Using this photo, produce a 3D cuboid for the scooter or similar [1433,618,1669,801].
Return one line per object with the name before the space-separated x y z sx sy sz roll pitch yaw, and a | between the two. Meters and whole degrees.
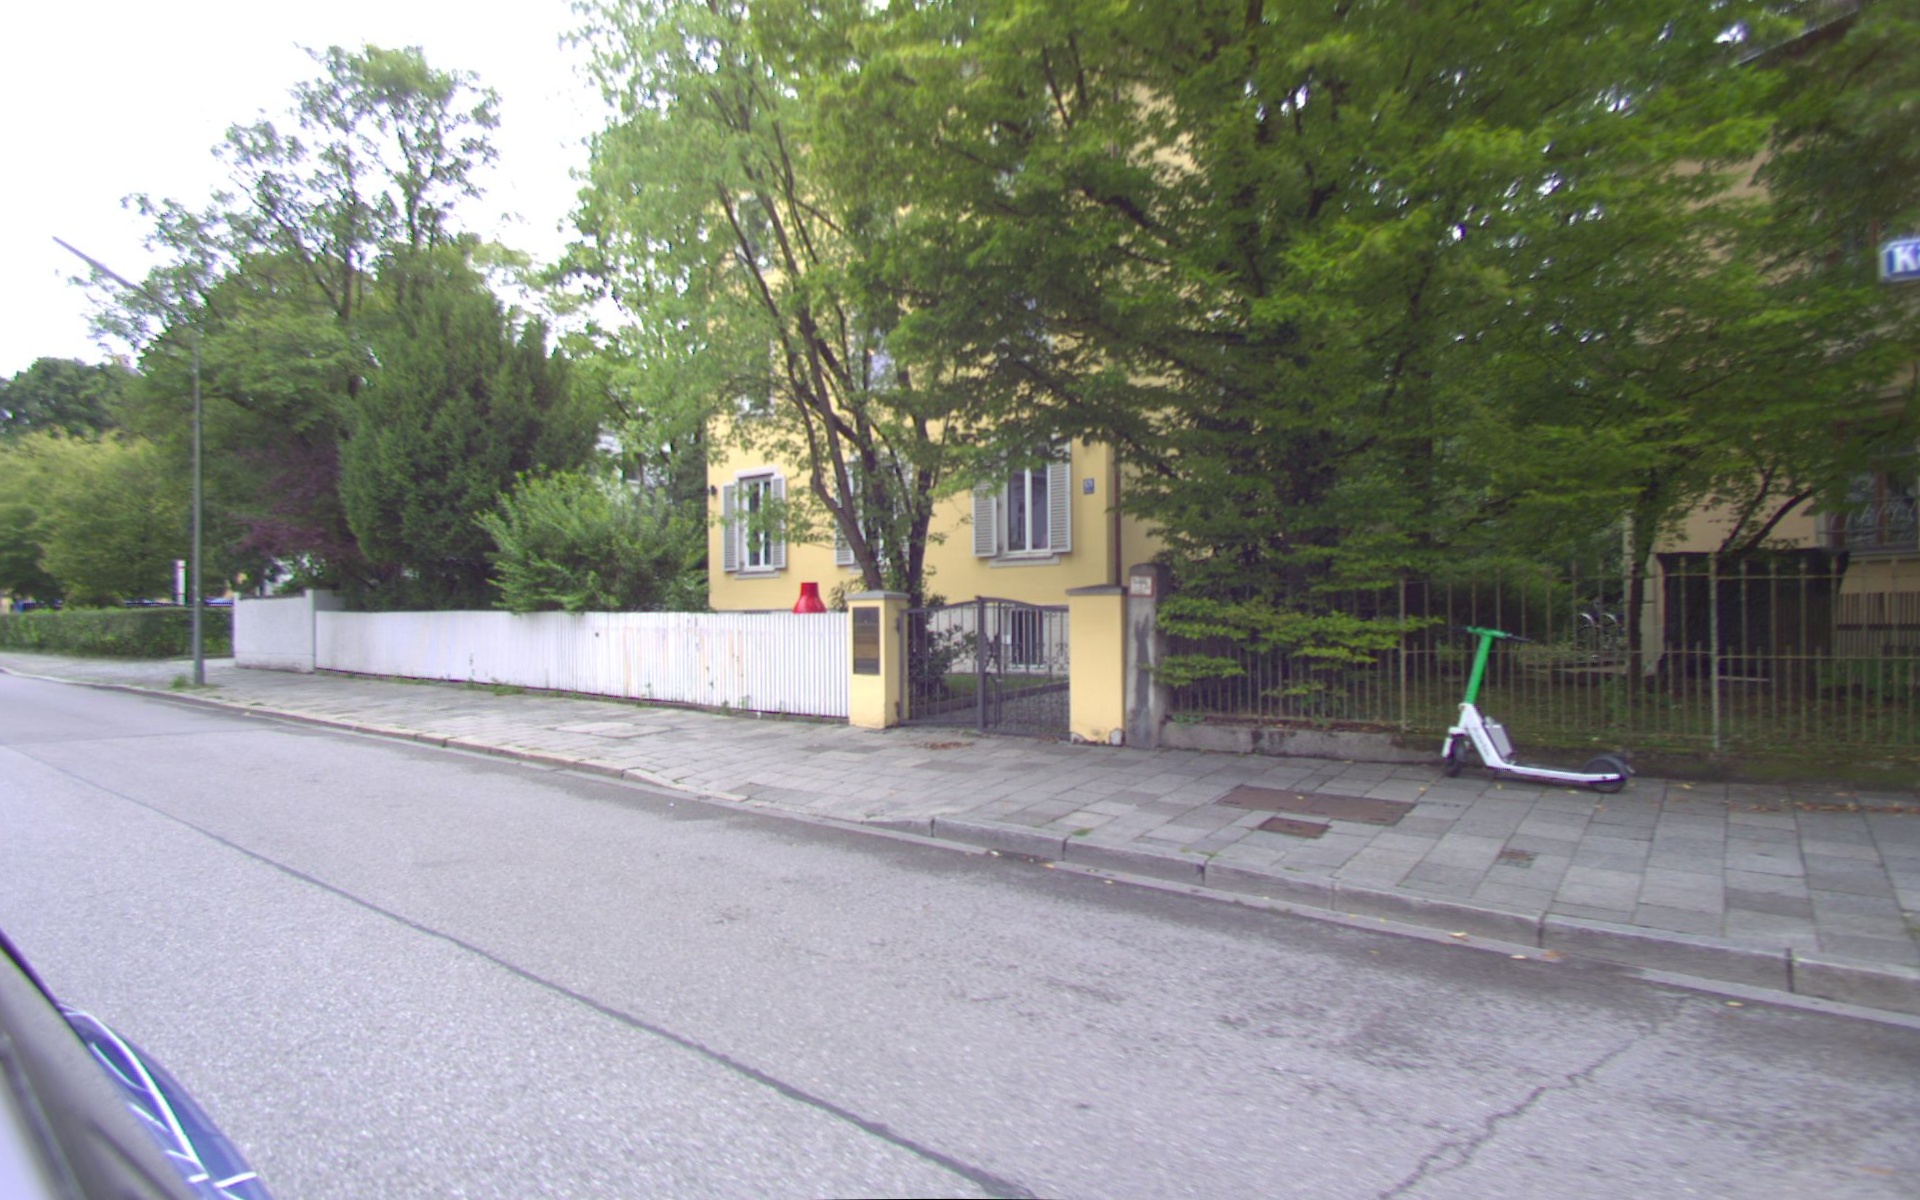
scooter or similar | 4.277 0.749 7.379 1.418 1.198 0.387 -1 3 40
